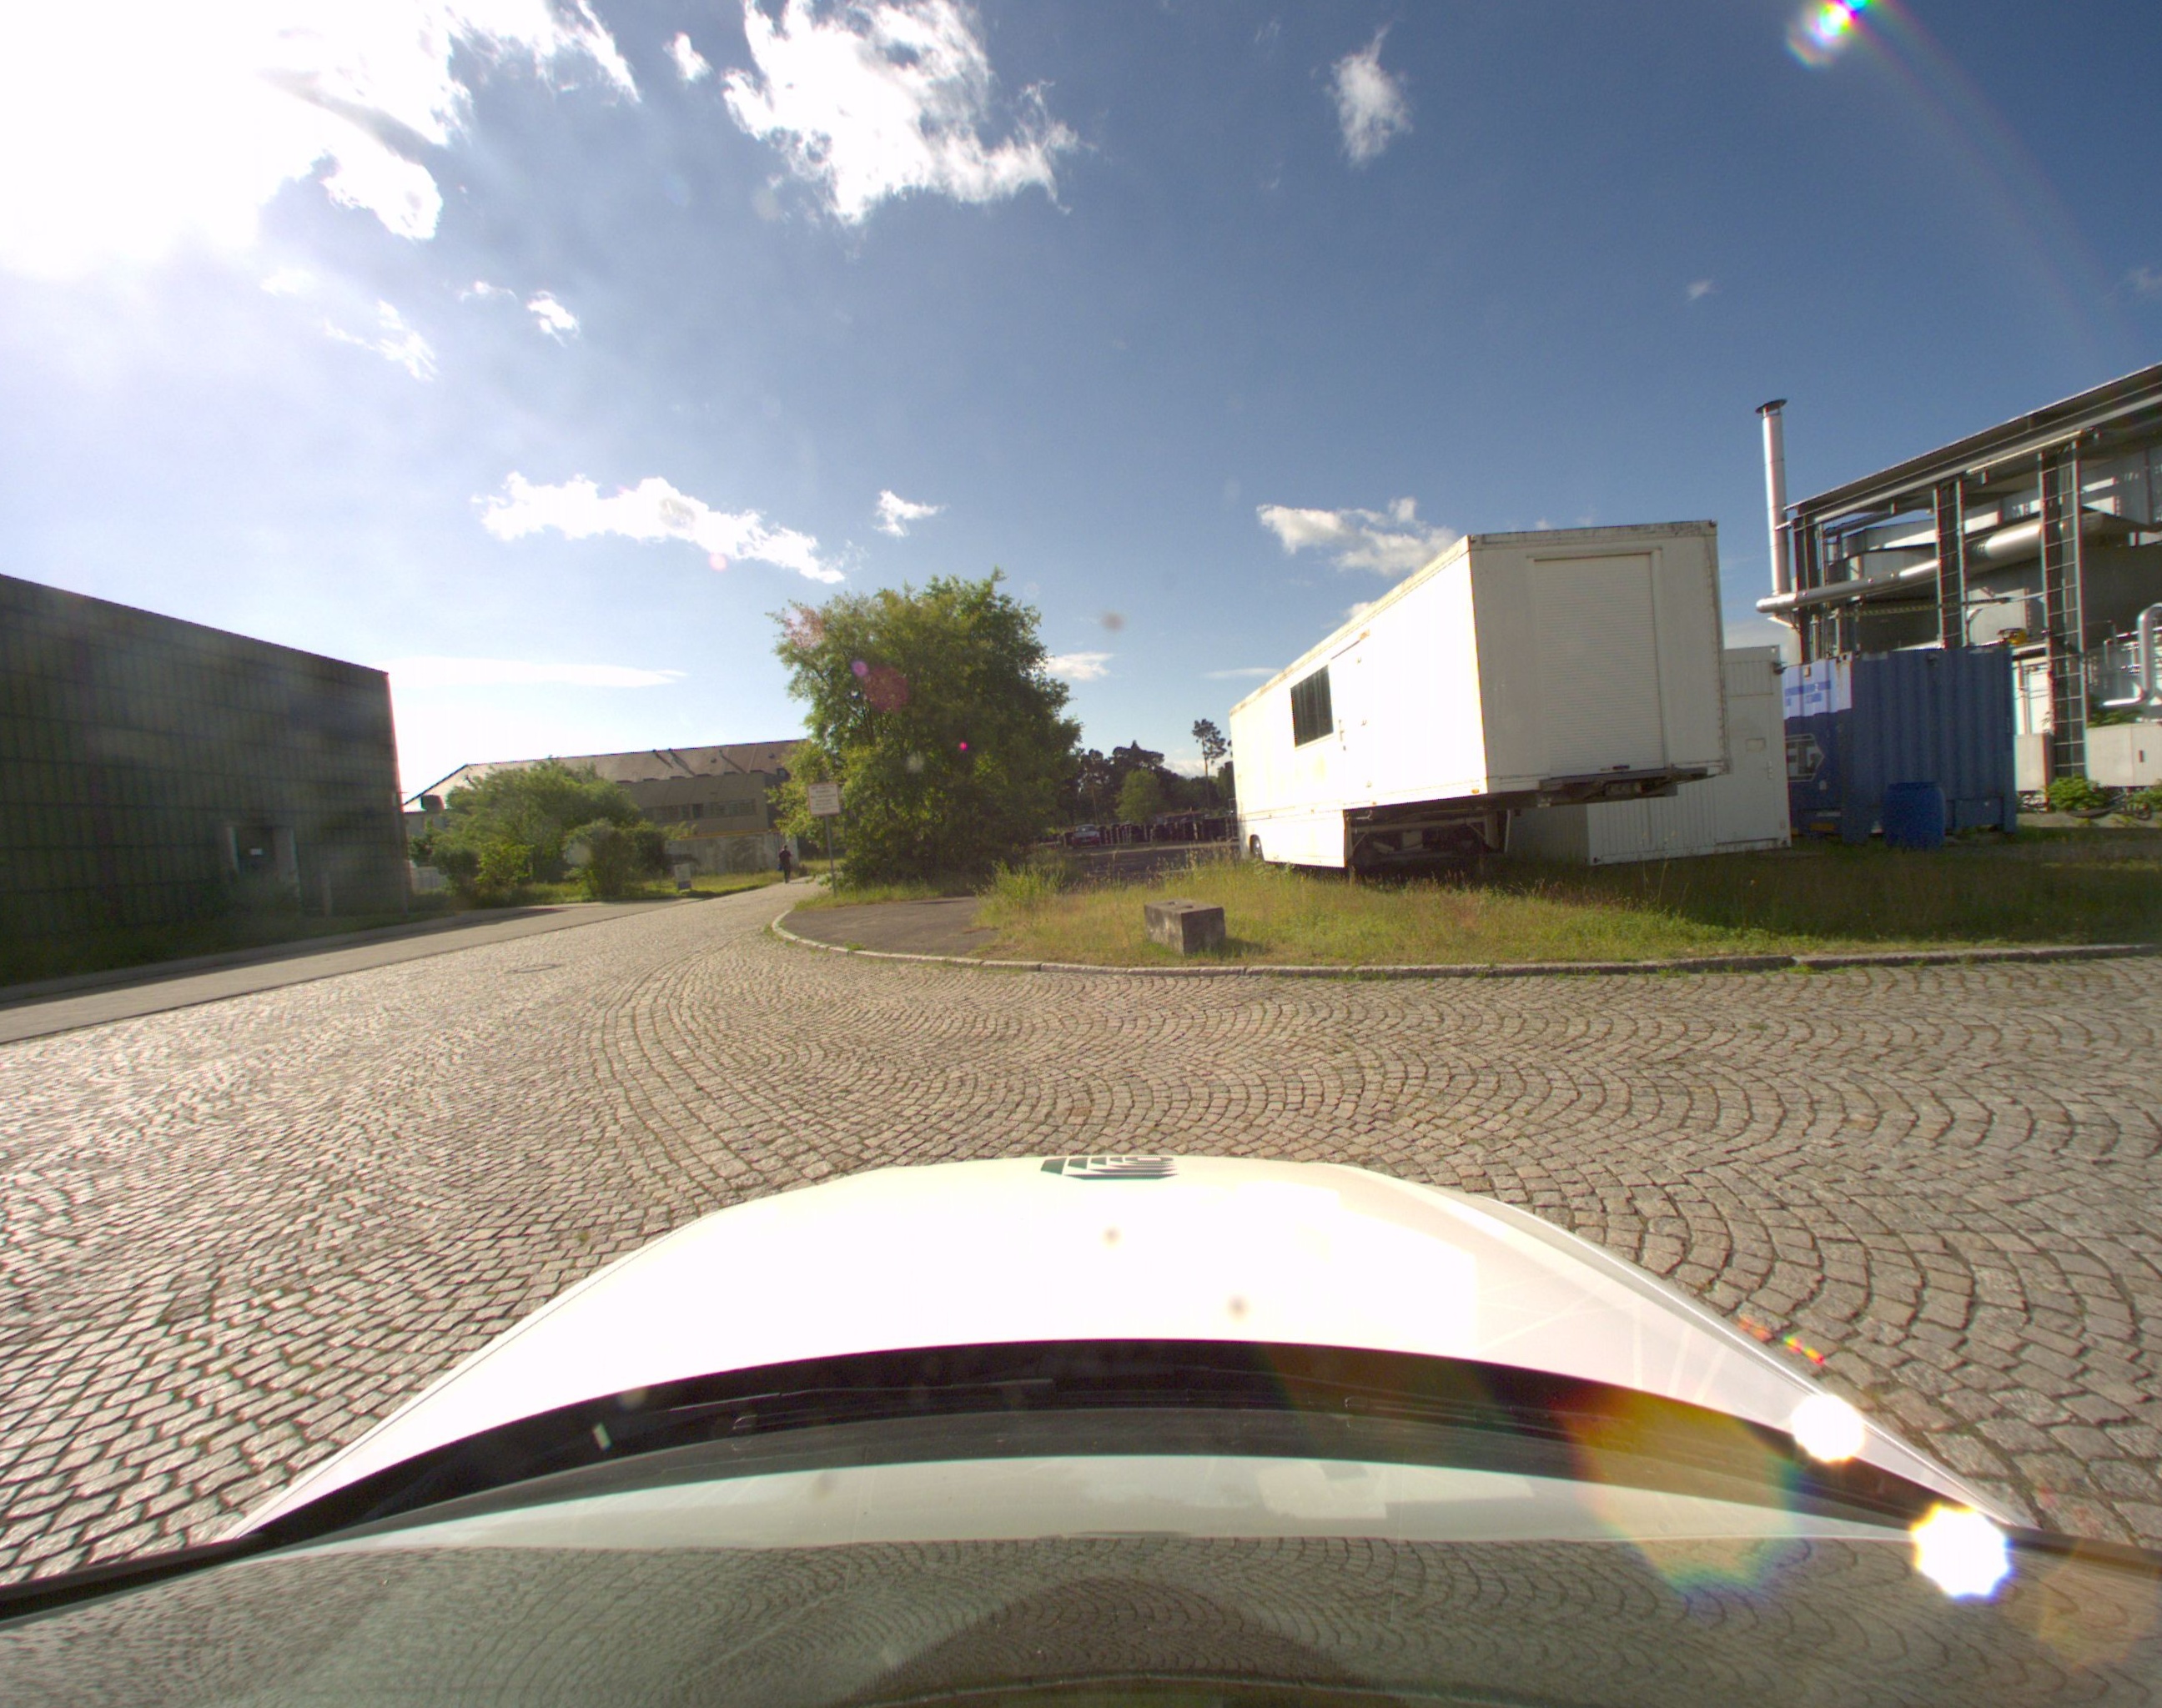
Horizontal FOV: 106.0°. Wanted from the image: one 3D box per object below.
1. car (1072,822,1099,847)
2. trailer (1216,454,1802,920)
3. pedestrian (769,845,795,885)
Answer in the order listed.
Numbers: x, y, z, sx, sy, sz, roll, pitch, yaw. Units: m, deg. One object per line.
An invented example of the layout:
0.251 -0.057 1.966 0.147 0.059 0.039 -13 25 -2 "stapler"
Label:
0.299 -1.226 50.599 1.535 1.406 3.579 -5 2 1 "car"
4.733 -1.656 12.633 2.766 3.910 10.878 -5 2 -2 "trailer"
-14.088 0.493 38.398 0.794 1.780 1.066 -4 2 -6 "pedestrian"
